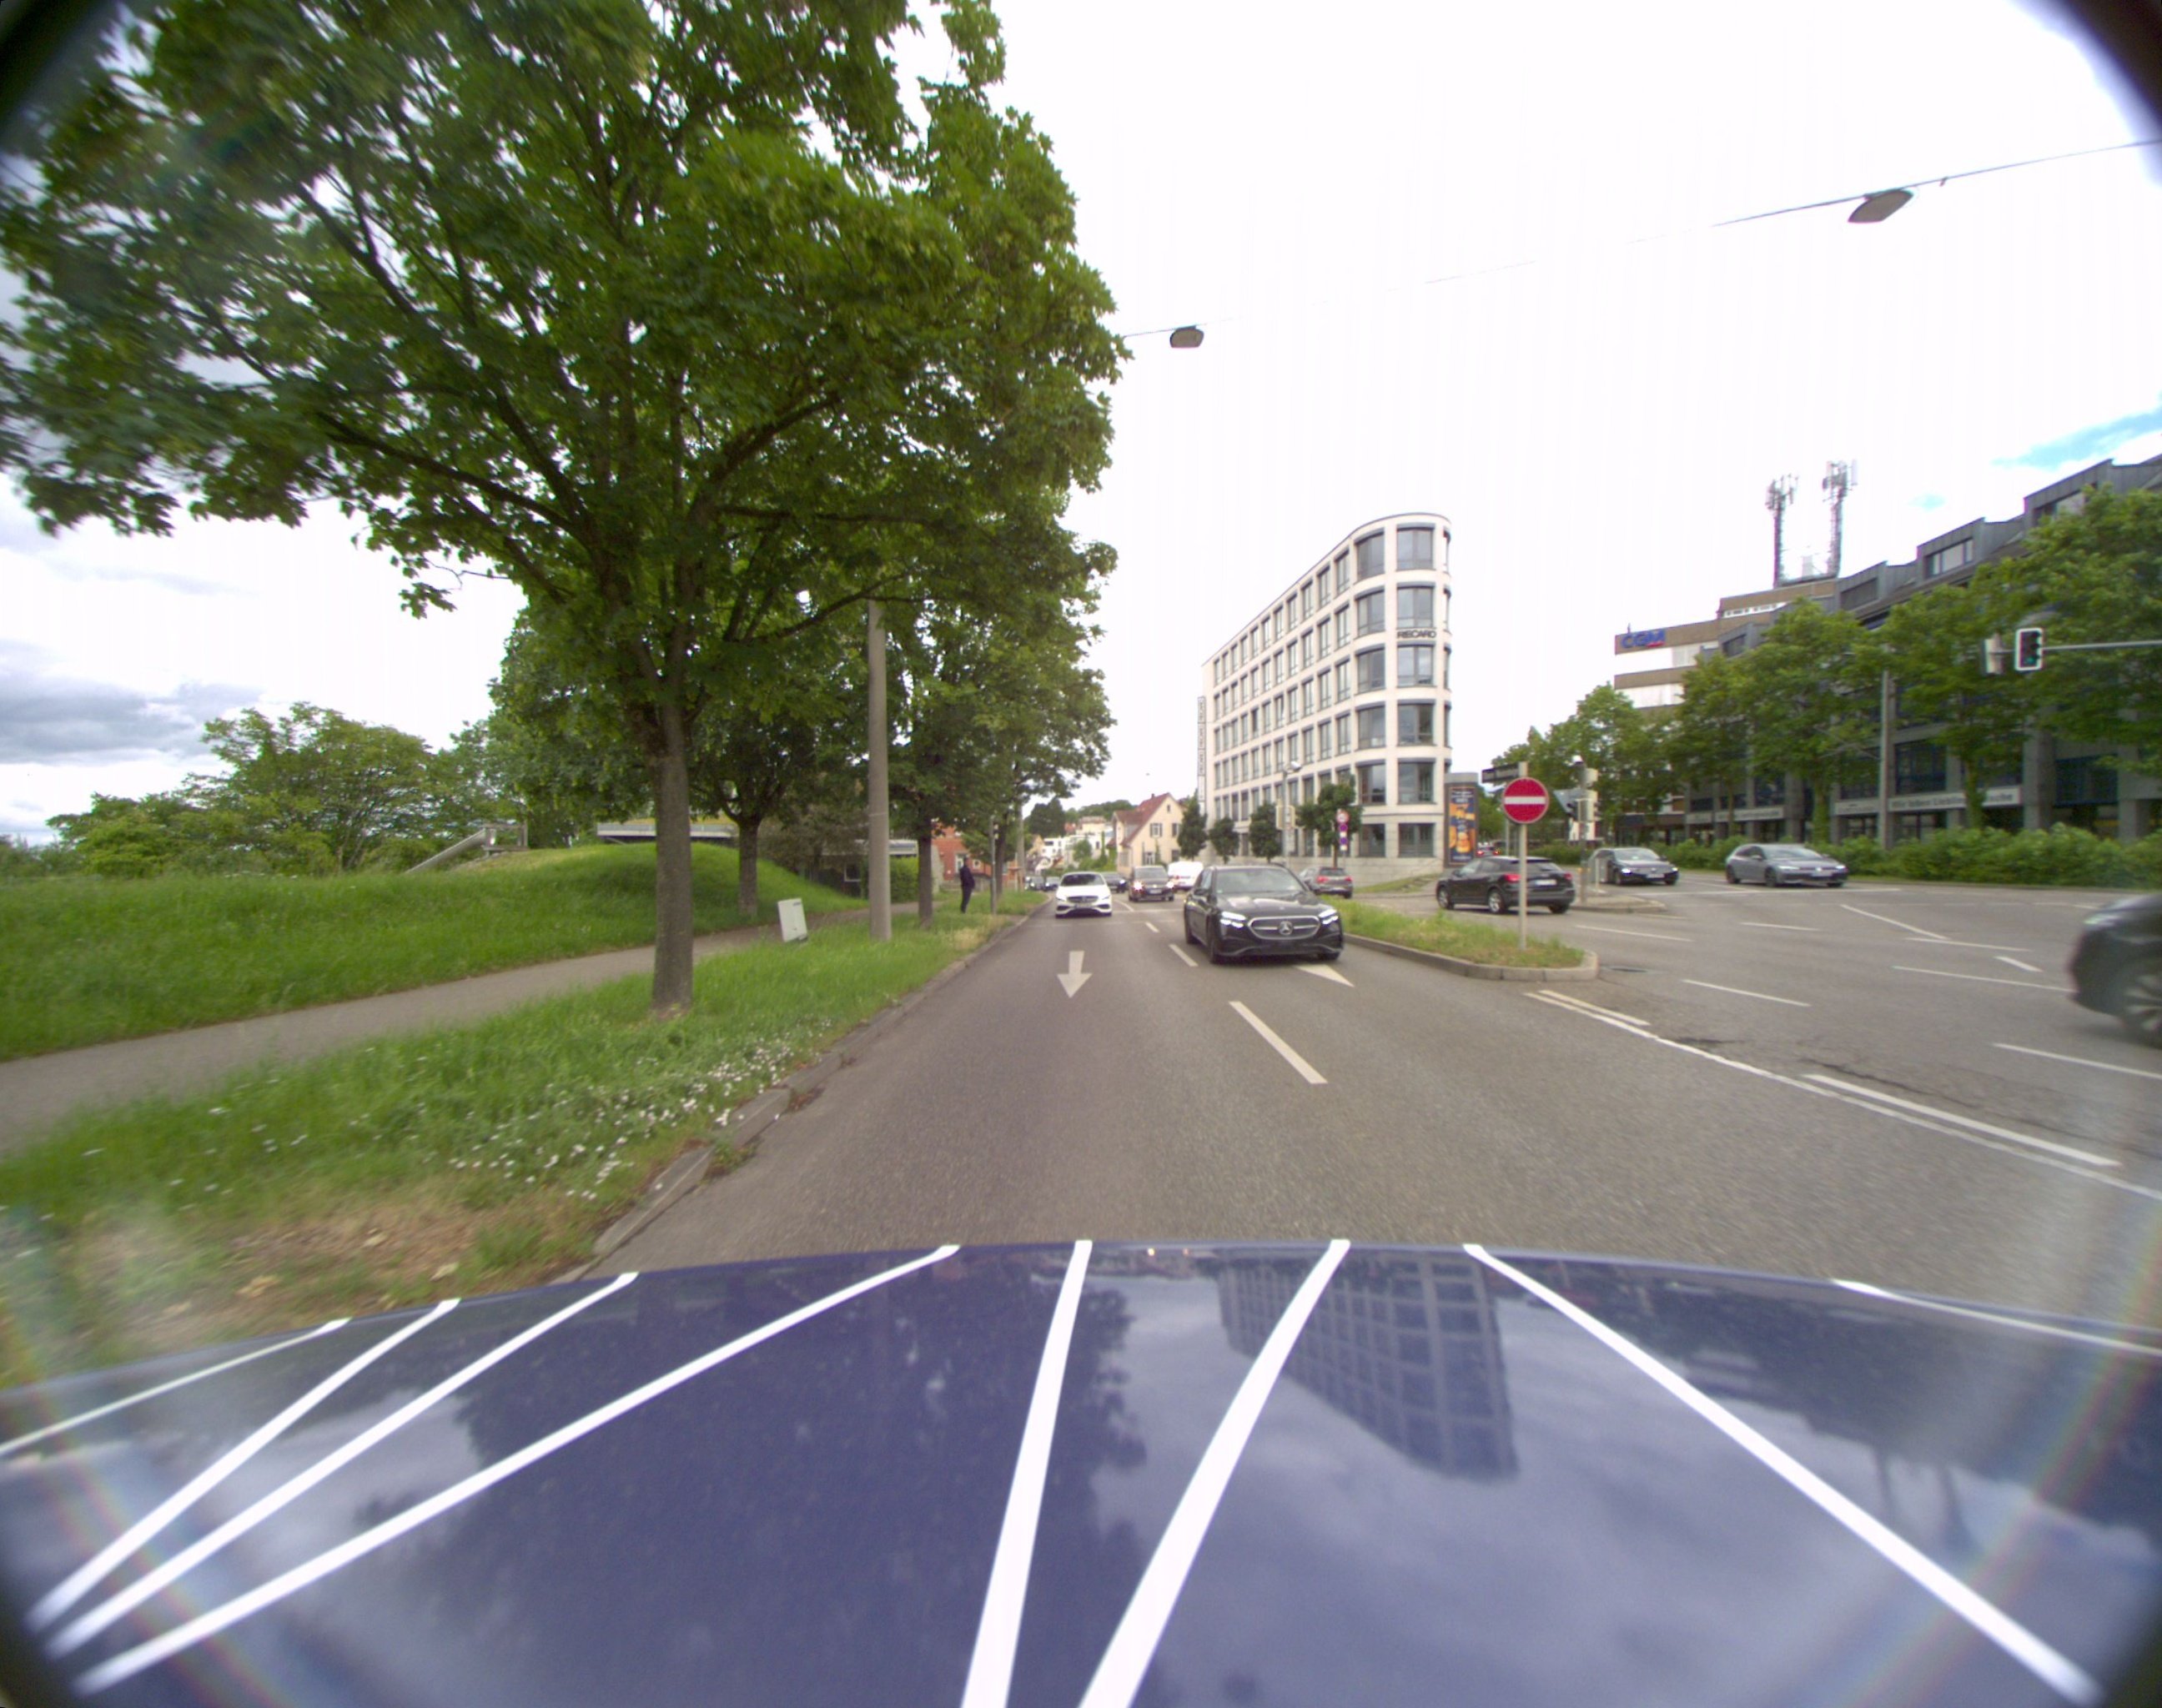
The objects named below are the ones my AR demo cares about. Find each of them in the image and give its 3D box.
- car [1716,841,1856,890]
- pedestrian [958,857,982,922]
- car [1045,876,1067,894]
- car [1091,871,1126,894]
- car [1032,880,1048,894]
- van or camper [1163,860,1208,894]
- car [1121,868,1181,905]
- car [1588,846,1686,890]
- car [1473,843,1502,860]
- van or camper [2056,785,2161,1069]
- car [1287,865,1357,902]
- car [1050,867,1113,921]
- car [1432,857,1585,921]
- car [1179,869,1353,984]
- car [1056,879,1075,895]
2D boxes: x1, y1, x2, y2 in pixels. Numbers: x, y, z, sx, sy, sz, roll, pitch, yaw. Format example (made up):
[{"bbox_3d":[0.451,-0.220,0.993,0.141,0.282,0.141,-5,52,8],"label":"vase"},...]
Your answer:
[{"bbox_3d":[23.767,0.355,25.851,1.778,1.454,4.446,-3,-1,19],"label":"car"},{"bbox_3d":[-3.220,1.028,22.111,0.644,1.844,0.673,-1,-1,-5],"label":"pedestrian"},{"bbox_3d":[-2.477,2.977,74.039,1.713,1.679,3.791,-1,-1,-8],"label":"car"},{"bbox_3d":[1.912,2.055,53.956,1.879,1.520,3.999,-1,-2,-7],"label":"car"},{"bbox_3d":[-5.257,4.173,96.183,1.713,1.679,3.791,-1,-1,-8],"label":"car"},{"bbox_3d":[6.623,1.441,48.677,1.999,2.002,4.448,-1,0,-3],"label":"van or camper"},{"bbox_3d":[3.104,1.491,34.525,1.879,1.520,3.999,-1,-2,-7],"label":"car"},{"bbox_3d":[21.444,0.479,29.497,1.778,1.454,4.446,-3,0,19],"label":"car"},{"bbox_3d":[38.644,-0.294,72.353,1.715,1.454,4.446,-3,0,19],"label":"car"},{"bbox_3d":[8.291,0.475,3.067,1.931,1.926,5.247,-2,0,0],"label":"van or camper"},{"bbox_3d":[10.846,1.296,34.438,1.749,1.455,3.999,-2,0,-2],"label":"car"},{"bbox_3d":[0.087,1.254,25.217,1.809,1.521,4.001,-4,-1,2],"label":"car"},{"bbox_3d":[11.146,0.852,20.175,1.755,1.455,4.000,-2,0,-1],"label":"car"},{"bbox_3d":[2.801,1.085,12.562,1.878,1.520,4.337,-2,-2,1],"label":"car"},{"bbox_3d":[-1.781,3.795,87.299,1.713,1.679,3.791,-1,-1,-8],"label":"car"}]
